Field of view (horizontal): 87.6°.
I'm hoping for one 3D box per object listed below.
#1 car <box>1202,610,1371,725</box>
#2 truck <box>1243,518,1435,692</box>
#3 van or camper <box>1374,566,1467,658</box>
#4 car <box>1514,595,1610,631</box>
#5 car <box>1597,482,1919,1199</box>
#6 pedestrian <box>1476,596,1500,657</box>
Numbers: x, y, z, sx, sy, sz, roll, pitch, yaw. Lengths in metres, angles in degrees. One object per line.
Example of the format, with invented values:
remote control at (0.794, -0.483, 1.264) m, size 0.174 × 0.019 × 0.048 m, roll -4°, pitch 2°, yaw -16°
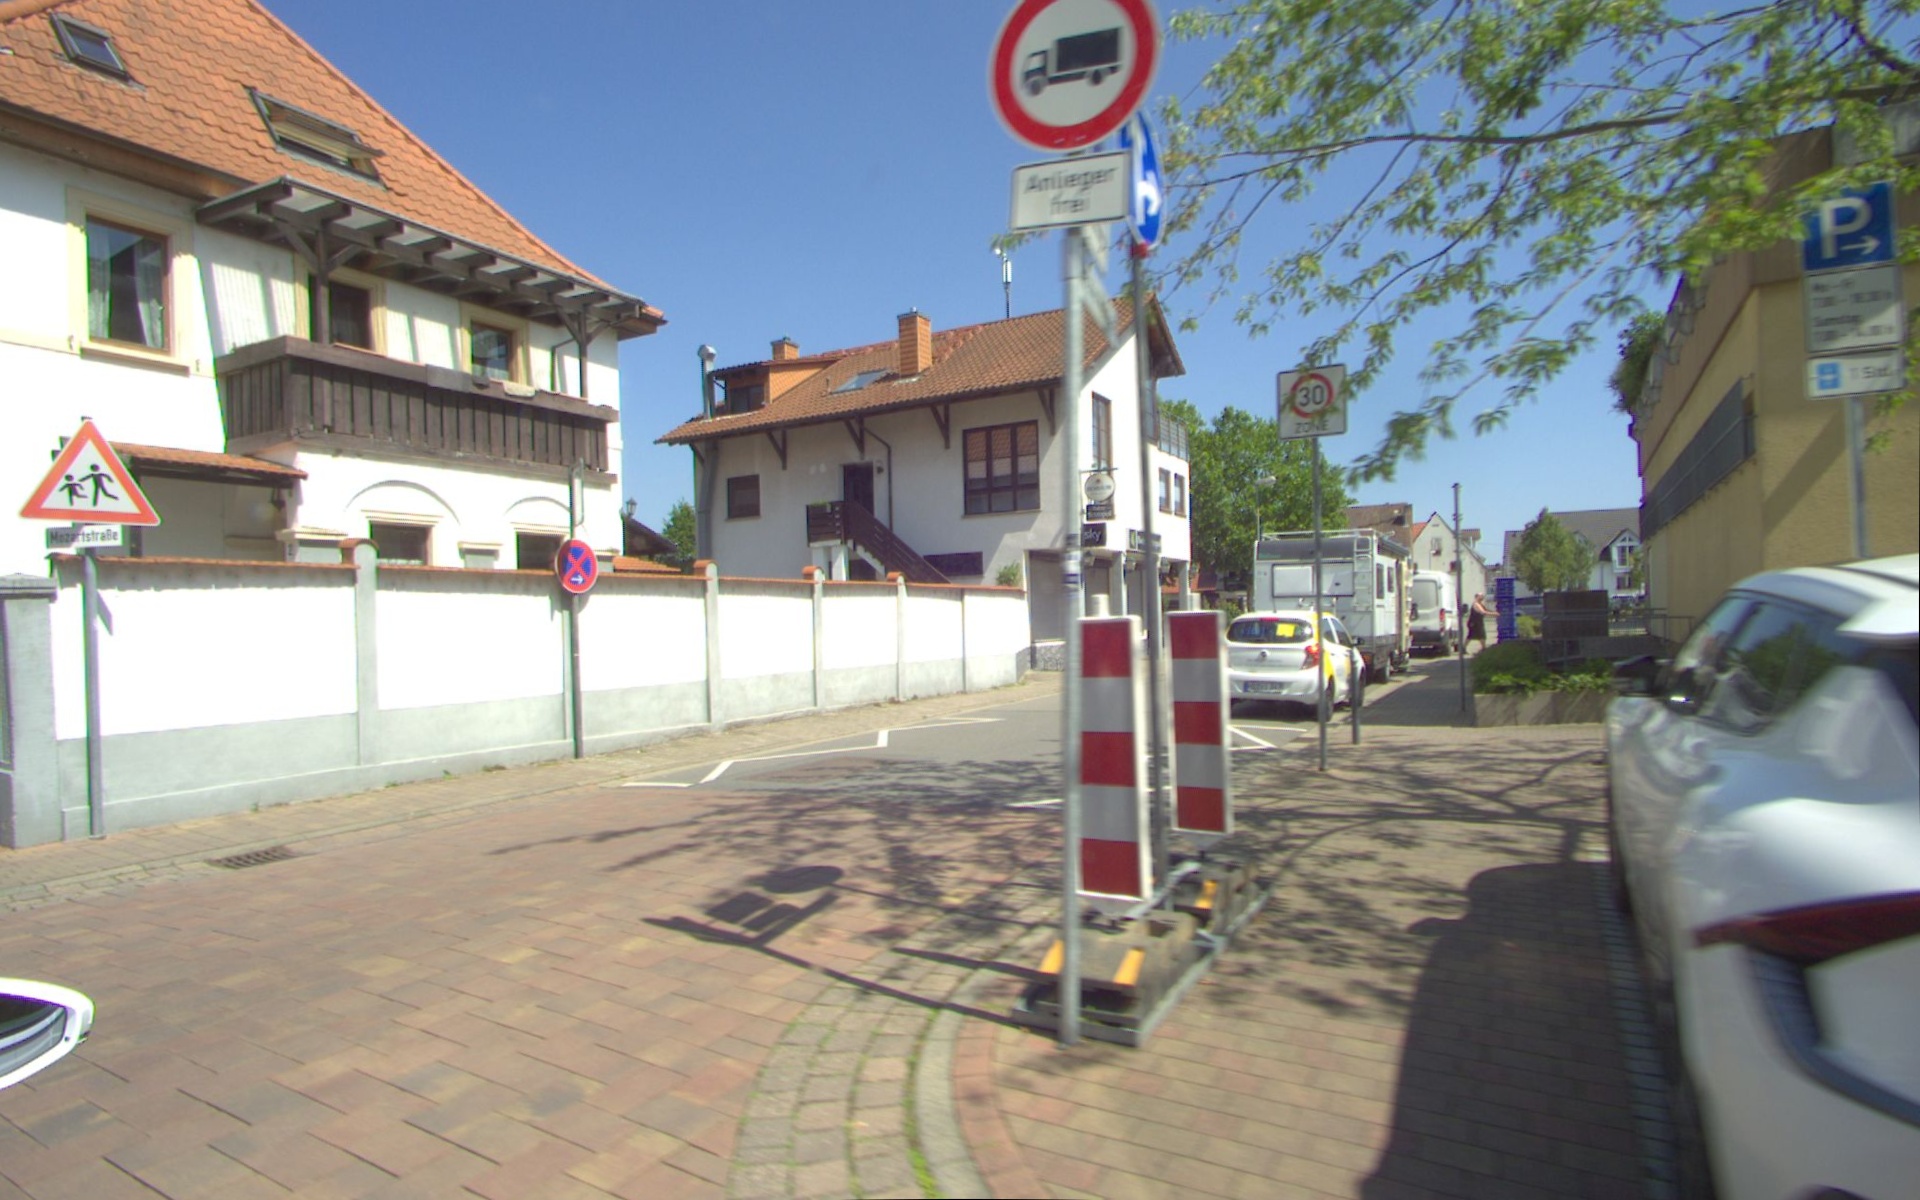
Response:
car at (4.945, 0.904, 14.875) m, size 1.631 × 1.471 × 3.609 m, roll -1°, pitch -1°, yaw 31°
truck at (8.090, 0.150, 20.875) m, size 2.509 × 3.044 × 6.373 m, roll -2°, pitch -1°, yaw 32°
van or camper at (13.887, 0.384, 30.055) m, size 2.039 × 2.510 × 4.651 m, roll -2°, pitch -1°, yaw 30°
car at (28.902, 0.632, 48.180) m, size 3.879 × 1.597 × 1.650 m, roll -2°, pitch -1°, yaw 30°
car at (2.869, 0.585, 2.710) m, size 1.763 × 1.597 × 4.431 m, roll -2°, pitch 0°, yaw 31°
pedestrian at (15.332, 0.762, 29.087) m, size 0.494 × 1.753 × 0.756 m, roll -2°, pitch -1°, yaw 34°
